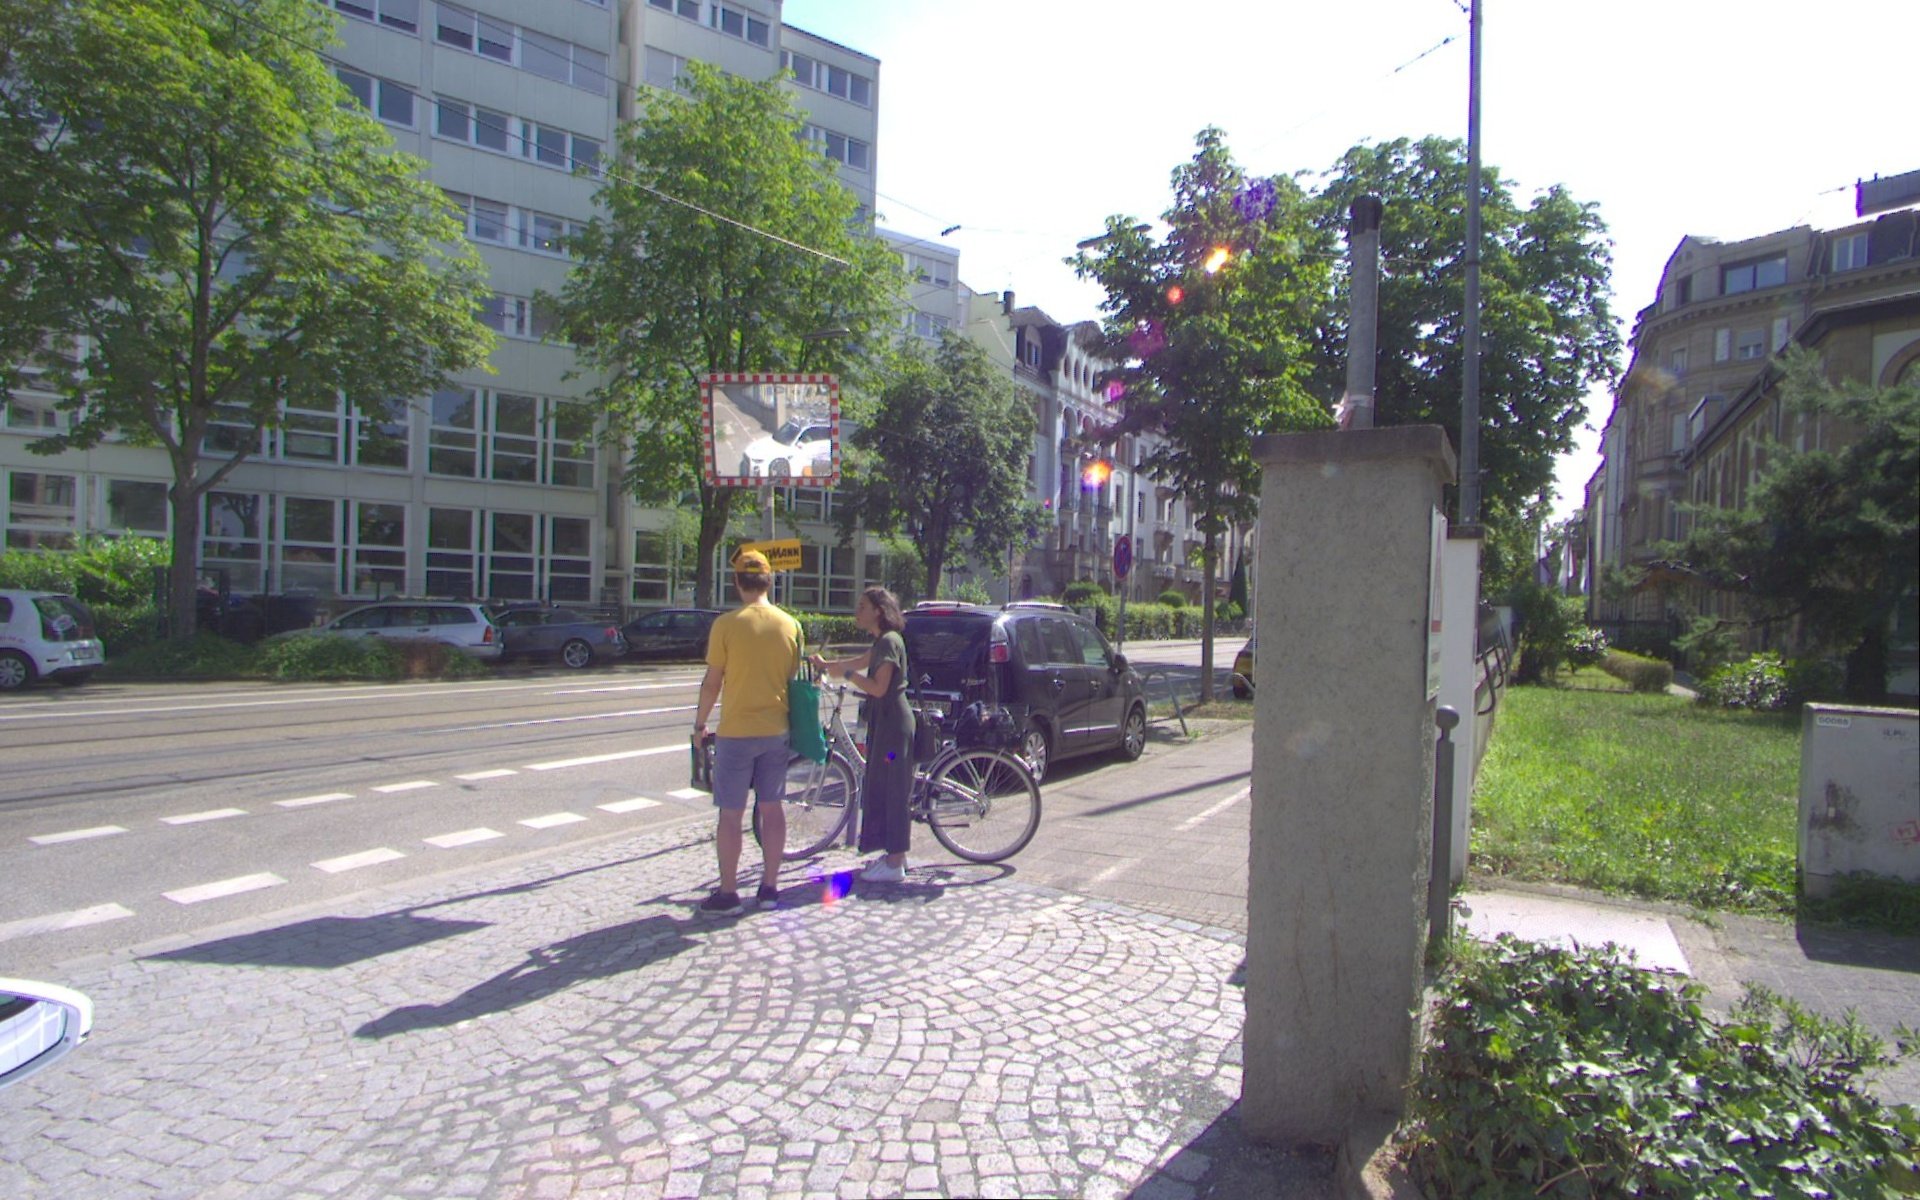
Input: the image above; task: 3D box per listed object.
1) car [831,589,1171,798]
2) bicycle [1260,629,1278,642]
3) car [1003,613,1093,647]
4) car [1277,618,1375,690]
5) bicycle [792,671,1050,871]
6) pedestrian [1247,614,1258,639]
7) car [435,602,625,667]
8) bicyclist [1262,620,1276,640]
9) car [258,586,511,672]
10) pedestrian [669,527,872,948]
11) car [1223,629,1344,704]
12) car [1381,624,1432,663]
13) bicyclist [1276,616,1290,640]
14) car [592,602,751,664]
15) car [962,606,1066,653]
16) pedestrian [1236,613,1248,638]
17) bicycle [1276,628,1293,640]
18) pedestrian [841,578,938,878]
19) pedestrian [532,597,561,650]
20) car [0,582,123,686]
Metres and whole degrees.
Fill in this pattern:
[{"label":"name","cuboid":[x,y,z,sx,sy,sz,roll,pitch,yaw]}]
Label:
[{"label":"car","cuboid":[0.637,0.819,10.434,1.829,1.706,3.981,1,-1,31]},{"label":"bicycle","cuboid":[23.853,2.728,77.265,0.670,0.929,2.309,2,0,32]},{"label":"car","cuboid":[4.326,1.469,49.203,3.929,1.528,1.997,2,-1,-16]},{"label":"car","cuboid":[9.725,1.374,26.440,1.828,1.702,3.984,1,-1,28]},{"label":"bicycle","cuboid":[-0.234,0.999,6.039,1.484,1.055,0.363,2,0,12]},{"label":"pedestrian","cuboid":[23.227,2.078,79.498,0.680,1.958,0.785,2,0,28]},{"label":"car","cuboid":[-9.942,0.805,23.459,3.875,1.375,1.556,2,0,-16]},{"label":"bicyclist","cuboid":[23.868,2.314,77.424,0.793,1.563,0.860,2,0,33]},{"label":"car","cuboid":[-11.735,0.615,20.746,4.270,1.625,1.555,2,-1,-19]},{"label":"pedestrian","cuboid":[-0.975,0.631,5.020,0.839,1.889,0.827,2,0,-20]},{"label":"car","cuboid":[7.205,1.390,22.044,1.828,1.430,3.984,1,-1,28]},{"label":"car","cuboid":[20.839,1.997,46.627,1.828,1.702,3.984,1,-1,28]},{"label":"bicyclist","cuboid":[24.724,2.160,76.669,0.793,1.825,0.860,2,0,33]},{"label":"car","cuboid":[-7.561,0.870,26.452,3.875,1.505,1.556,2,0,-16]},{"label":"car","cuboid":[2.283,1.259,42.544,3.935,1.884,1.993,2,0,-23]},{"label":"pedestrian","cuboid":[22.491,2.063,79.792,0.680,1.958,0.785,2,0,28]},{"label":"bicycle","cuboid":[24.826,2.611,76.674,0.670,0.929,2.309,2,0,32]},{"label":"pedestrian","cuboid":[-0.400,0.709,5.749,0.445,1.642,0.422,-1,-1,12]},{"label":"pedestrian","cuboid":[-11.798,0.675,28.559,0.417,1.480,0.620,2,0,27]},{"label":"car","cuboid":[-15.159,0.472,14.854,3.874,1.505,1.610,1,0,-15]}]
